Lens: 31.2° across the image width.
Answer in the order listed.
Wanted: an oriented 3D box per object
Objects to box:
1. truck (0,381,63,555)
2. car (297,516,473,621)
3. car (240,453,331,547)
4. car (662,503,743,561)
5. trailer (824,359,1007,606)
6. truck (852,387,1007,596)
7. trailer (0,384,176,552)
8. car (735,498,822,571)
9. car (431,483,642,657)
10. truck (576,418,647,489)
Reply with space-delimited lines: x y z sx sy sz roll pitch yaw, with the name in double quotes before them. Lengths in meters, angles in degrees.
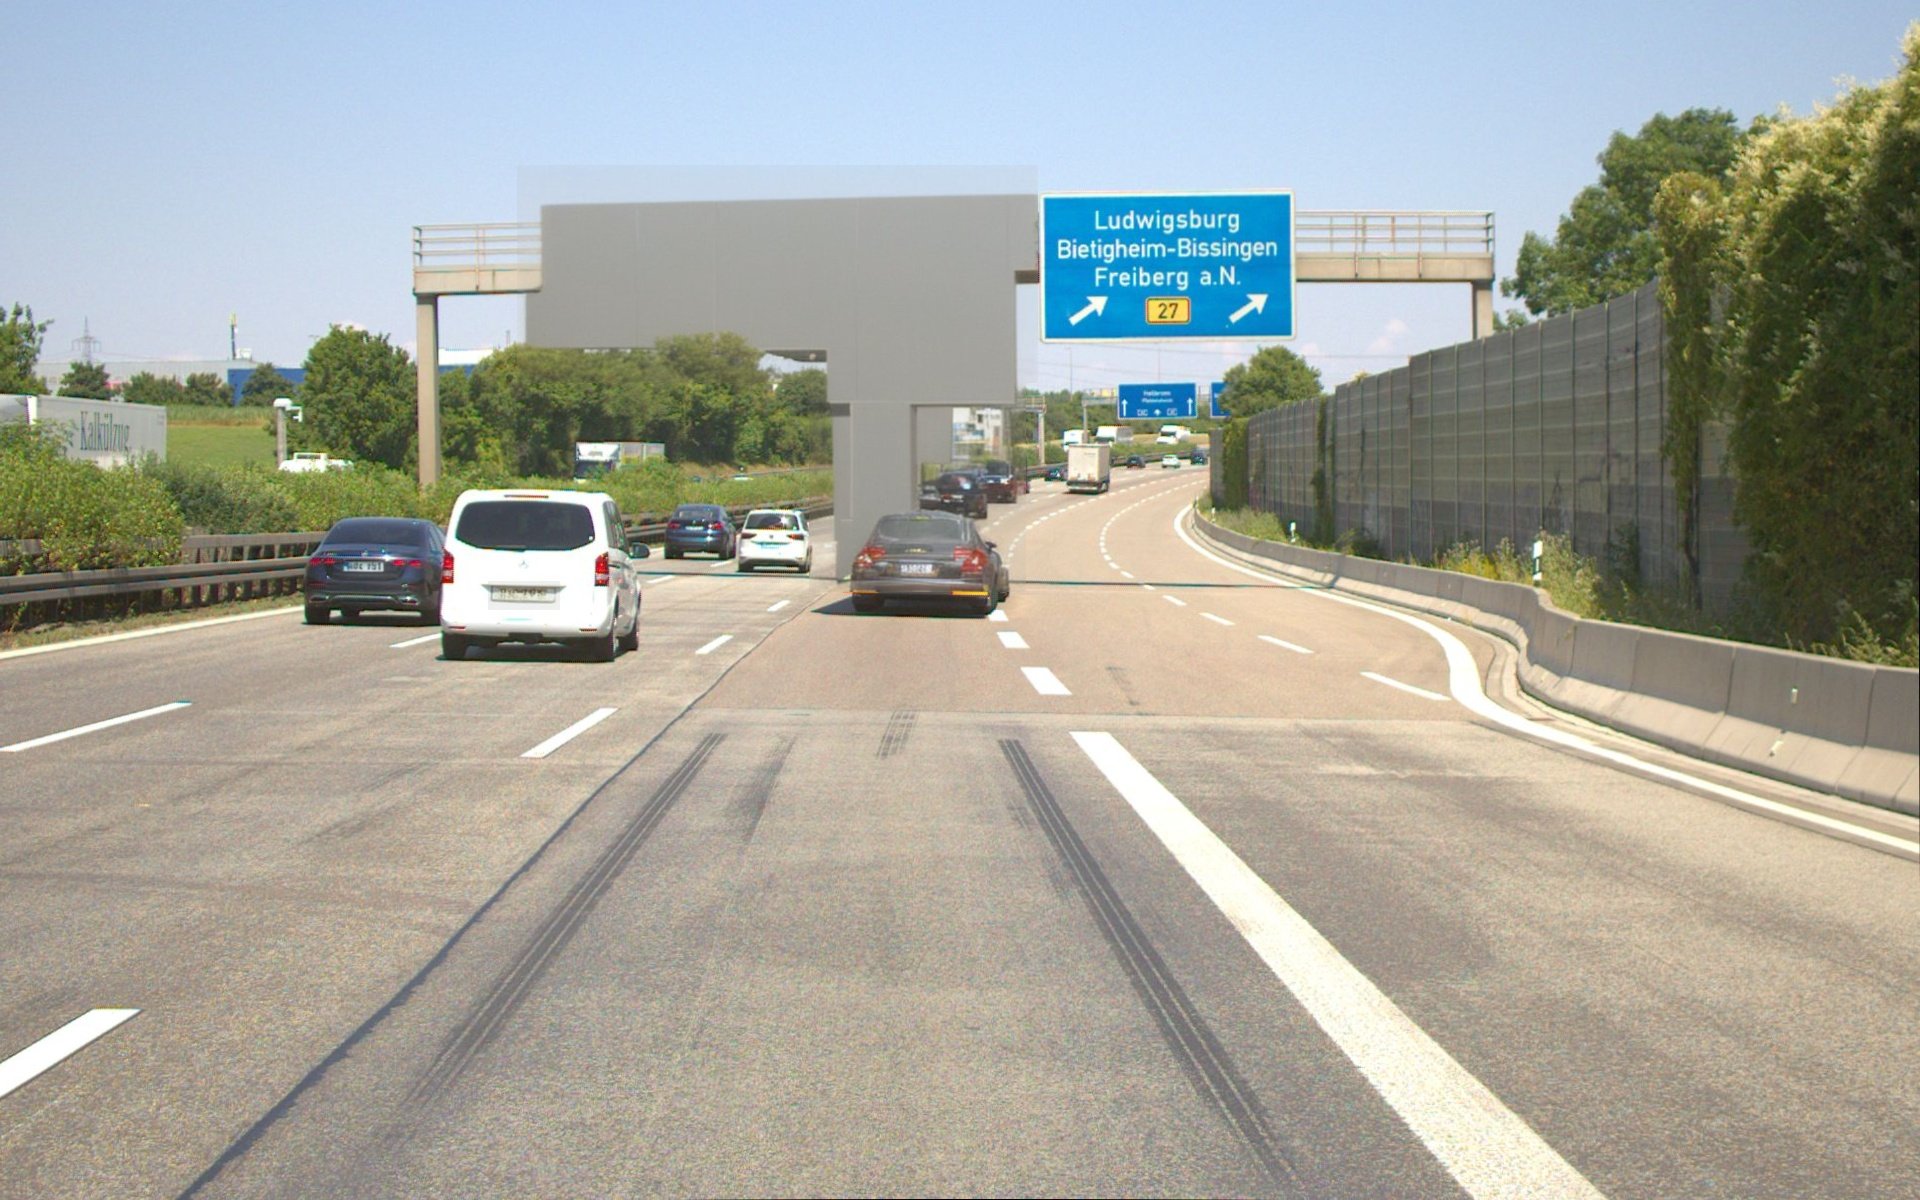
"truck" -23.915 -3.223 84.104 2.605 4.141 4.748 1 2 1
"car" -8.048 -0.466 48.503 1.756 1.404 5.040 0 1 -1
"car" -20.422 -3.035 104.259 1.993 2.755 4.000 1 2 -1
"car" -7.662 -2.050 102.658 1.904 1.683 4.631 0 2 2
"trailer" -0.641 -2.009 61.806 2.928 4.001 12.038 0 1 1
"truck" -0.533 -2.138 69.515 2.928 4.001 7.583 0 1 1
"trailer" -23.885 -3.455 91.765 2.605 4.119 14.230 1 2 0
"car" -4.685 -1.692 89.232 1.904 1.845 4.631 0 1 1
"car" -4.715 -0.357 38.883 1.930 1.845 4.693 0 1 -1
"truck" -20.170 -8.461 199.530 3.001 3.953 10.322 1 2 0
